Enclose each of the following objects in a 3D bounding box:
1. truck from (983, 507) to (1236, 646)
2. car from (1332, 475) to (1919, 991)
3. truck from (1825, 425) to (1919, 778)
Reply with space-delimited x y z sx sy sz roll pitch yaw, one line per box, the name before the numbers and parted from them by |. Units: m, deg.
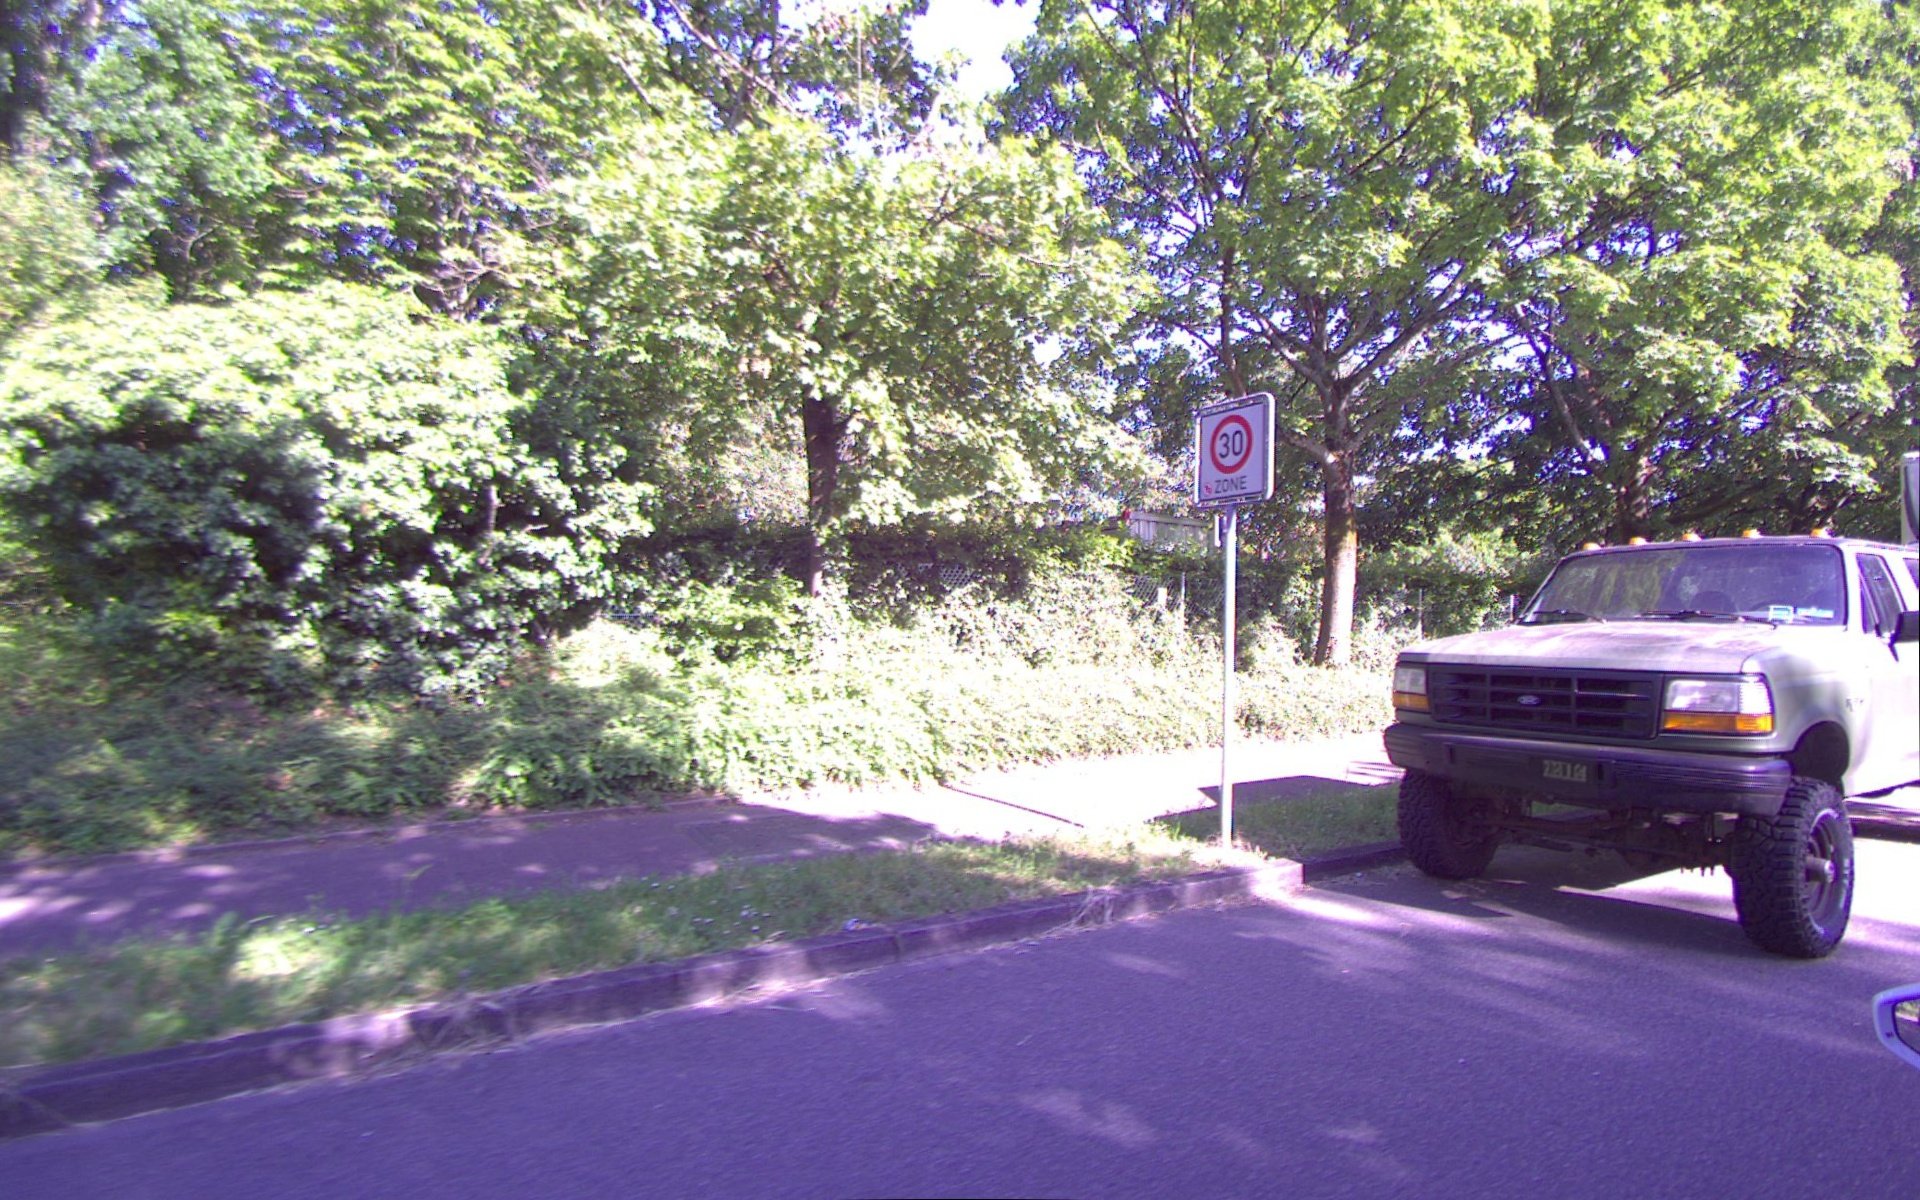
truck | 2.407 -0.242 17.110 2.181 2.040 3.964 1 -3 -34
car | 5.470 0.634 6.847 6.515 2.123 2.107 2 -2 -34
truck | 13.705 0.092 12.196 8.013 3.689 2.719 2 -1 -33
